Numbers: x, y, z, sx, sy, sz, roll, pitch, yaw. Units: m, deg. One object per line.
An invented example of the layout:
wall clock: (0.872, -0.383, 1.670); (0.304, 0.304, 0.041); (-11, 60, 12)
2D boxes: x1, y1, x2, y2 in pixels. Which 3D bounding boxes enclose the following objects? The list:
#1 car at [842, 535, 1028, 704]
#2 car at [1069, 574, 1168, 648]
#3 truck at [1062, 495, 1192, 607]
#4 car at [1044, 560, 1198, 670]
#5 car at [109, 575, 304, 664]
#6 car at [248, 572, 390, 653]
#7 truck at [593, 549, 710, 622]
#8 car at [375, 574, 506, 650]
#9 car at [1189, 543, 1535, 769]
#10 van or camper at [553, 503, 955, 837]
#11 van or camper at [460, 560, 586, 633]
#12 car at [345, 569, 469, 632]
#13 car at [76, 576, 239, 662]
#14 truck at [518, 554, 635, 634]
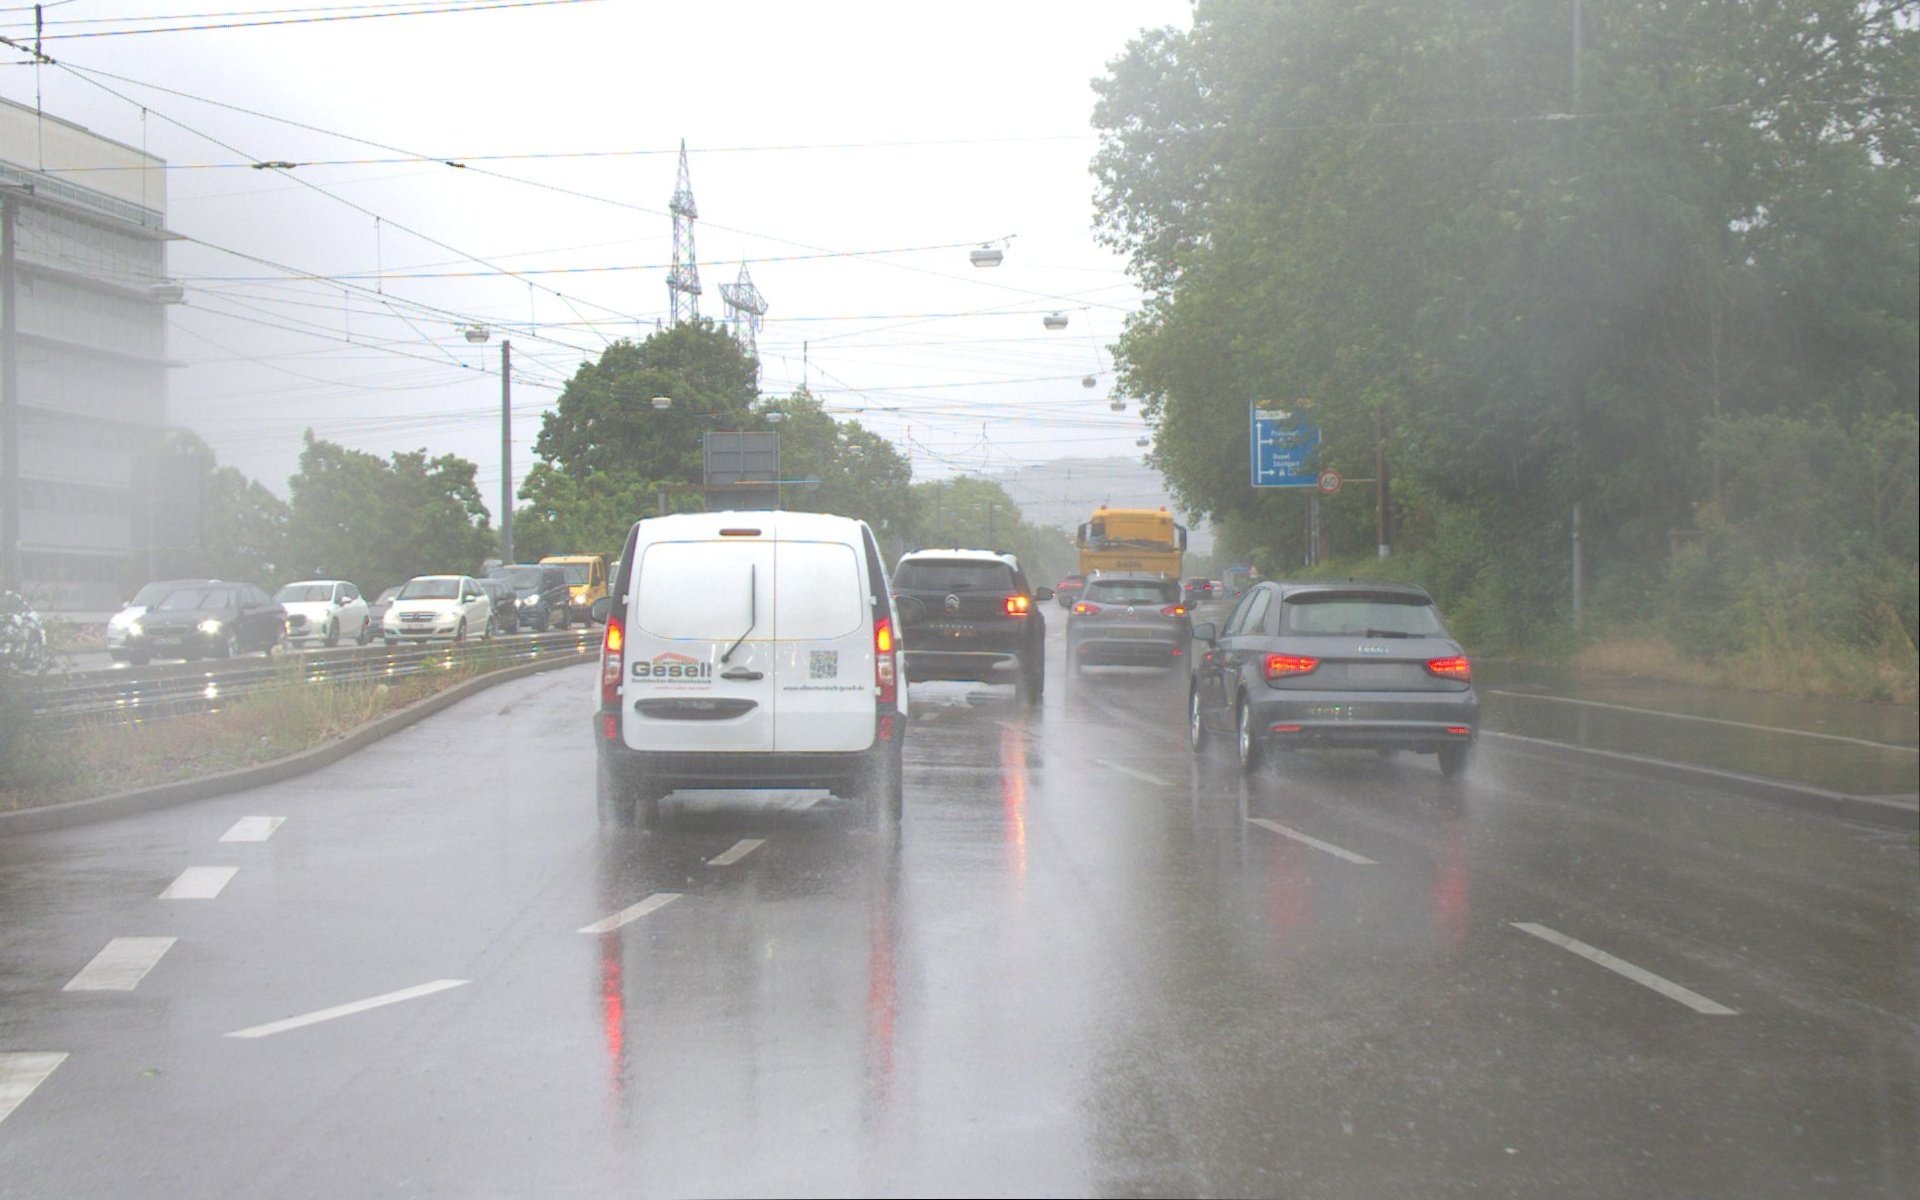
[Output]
car: (-0.253, 0.154, 37.737); (1.899, 1.711, 4.726); (1, 1, 0)
car: (3.300, 0.207, 71.047); (1.818, 1.409, 3.778); (1, 1, 6)
truck: (4.340, -1.252, 88.120); (3.113, 2.764, 6.328); (0, 1, 5)
car: (2.192, 0.177, 47.737); (1.818, 1.409, 3.779); (1, 1, -2)
car: (-13.634, 0.321, 62.534); (1.923, 1.418, 5.082); (1, 2, 6)
car: (-15.028, 0.280, 80.849); (1.994, 1.828, 4.692); (-1, 0, 6)
truck: (-10.792, -0.514, 120.893); (2.436, 2.449, 7.216); (2, 0, 8)
car: (-11.836, 0.241, 78.642); (1.873, 1.568, 4.327); (1, 2, 7)
car: (2.905, 0.355, 25.695); (1.967, 1.523, 3.991); (1, 1, -2)
van or camper: (-1.131, 0.327, 20.723); (1.994, 1.778, 4.000); (1, 2, 2)
van or camper: (-12.815, -0.117, 101.285); (2.305, 2.007, 5.684); (2, 0, 7)
car: (-14.171, 0.005, 88.312); (1.964, 1.511, 4.553); (-2, 0, 6)
car: (-16.674, 0.371, 71.694); (1.908, 1.601, 4.842); (2, 1, 4)
truck: (-12.293, -0.211, 110.651); (2.228, 2.453, 6.064); (2, 0, 8)
